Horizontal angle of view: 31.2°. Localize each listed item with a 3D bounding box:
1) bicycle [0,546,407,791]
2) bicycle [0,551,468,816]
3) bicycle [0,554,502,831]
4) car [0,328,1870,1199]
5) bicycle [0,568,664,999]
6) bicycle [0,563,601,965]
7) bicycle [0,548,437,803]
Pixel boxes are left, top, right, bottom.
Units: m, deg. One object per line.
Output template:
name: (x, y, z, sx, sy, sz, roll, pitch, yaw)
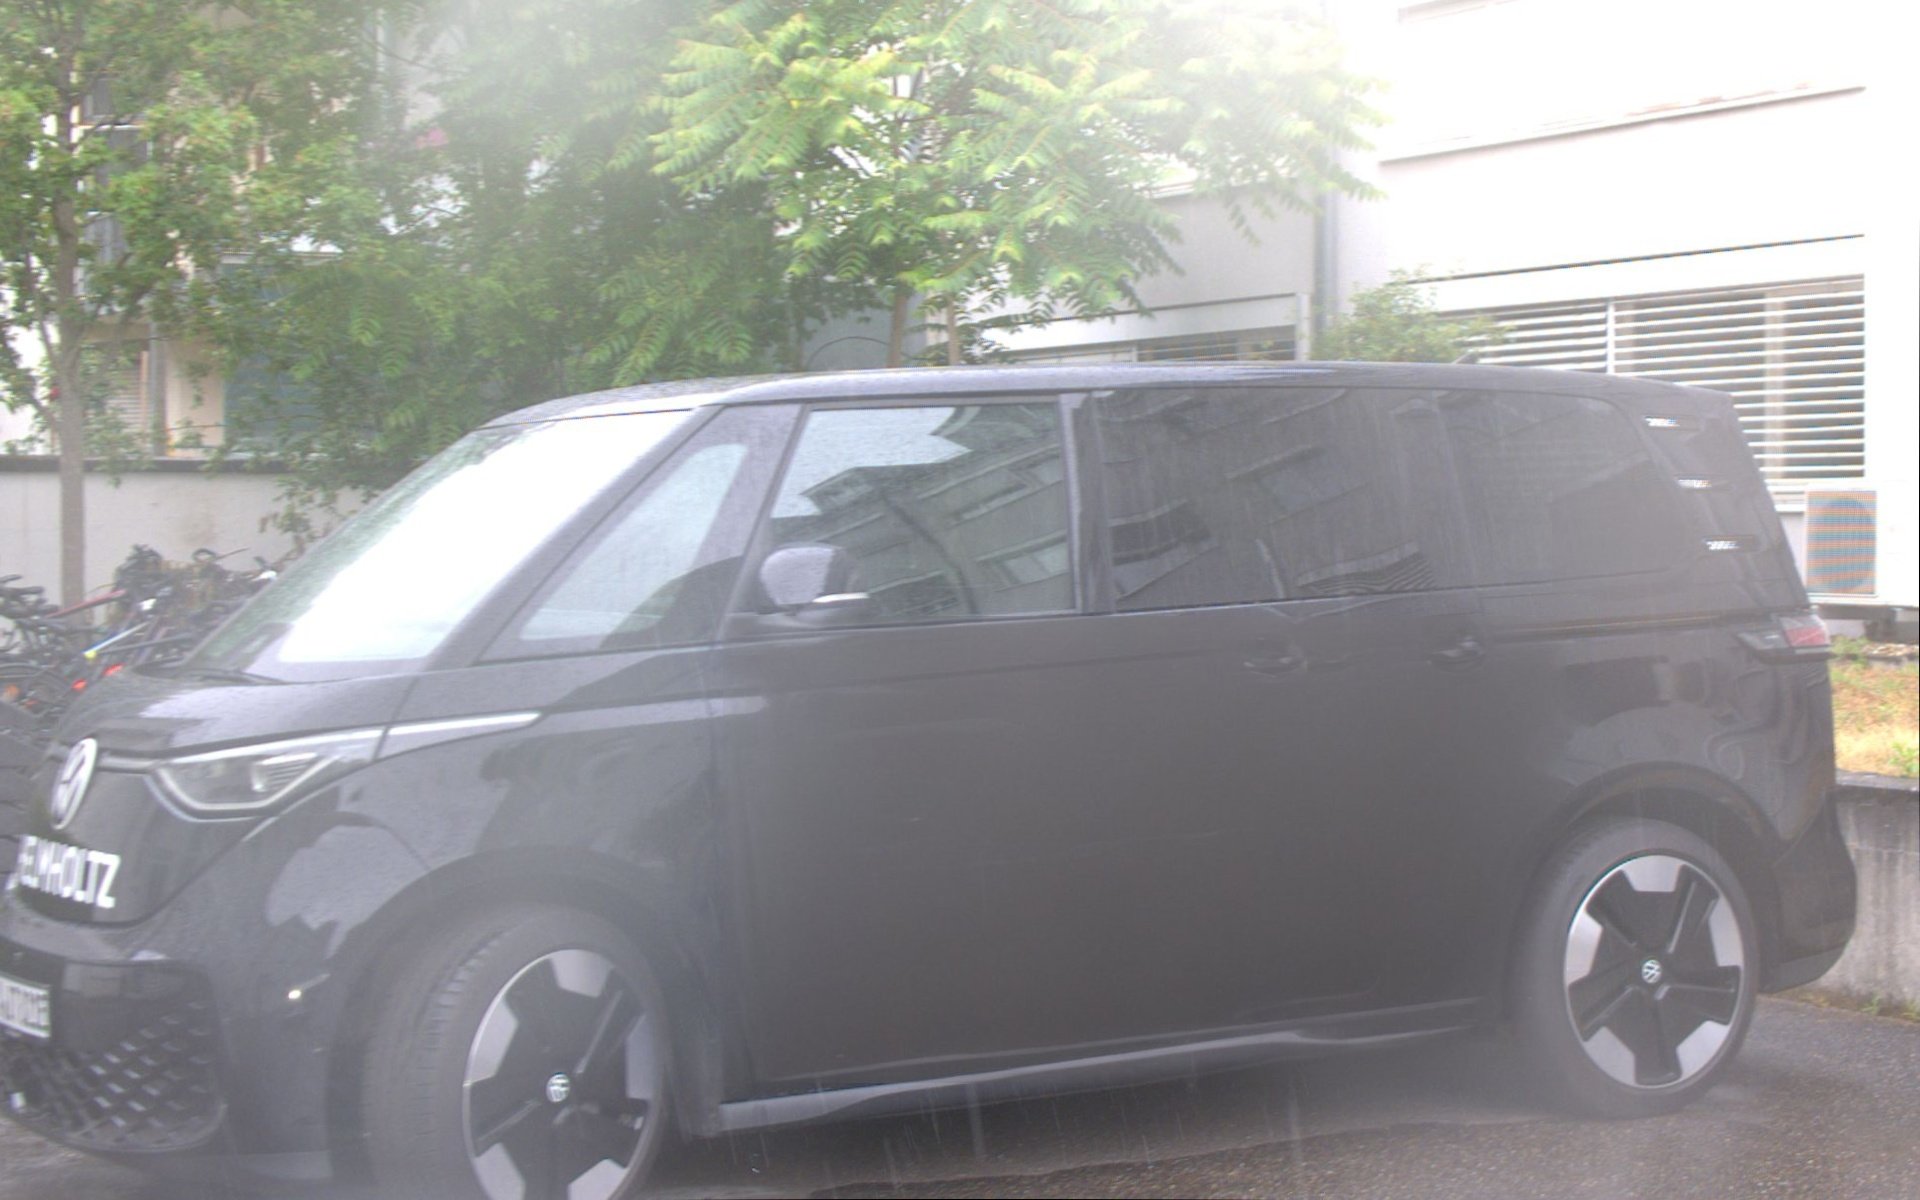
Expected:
bicycle: (-4.565, 0.347, 18.073, 3.213, 1.237, 0.631, -1, 1, -25)
bicycle: (-4.060, 0.393, 16.847, 3.213, 1.237, 0.631, -1, 1, -25)
bicycle: (-3.804, 0.417, 16.195, 3.213, 1.237, 0.631, -1, 1, -25)
car: (-0.173, 0.394, 8.423, 4.507, 1.891, 2.047, -1, 1, -30)
bicycle: (-2.888, 0.730, 14.574, 3.213, 1.697, 0.631, -1, 1, -25)
bicycle: (-3.254, 0.697, 15.456, 3.213, 1.697, 0.631, -1, 1, -25)
bicycle: (-4.314, 0.370, 17.470, 3.213, 1.237, 0.631, -1, 1, -25)
